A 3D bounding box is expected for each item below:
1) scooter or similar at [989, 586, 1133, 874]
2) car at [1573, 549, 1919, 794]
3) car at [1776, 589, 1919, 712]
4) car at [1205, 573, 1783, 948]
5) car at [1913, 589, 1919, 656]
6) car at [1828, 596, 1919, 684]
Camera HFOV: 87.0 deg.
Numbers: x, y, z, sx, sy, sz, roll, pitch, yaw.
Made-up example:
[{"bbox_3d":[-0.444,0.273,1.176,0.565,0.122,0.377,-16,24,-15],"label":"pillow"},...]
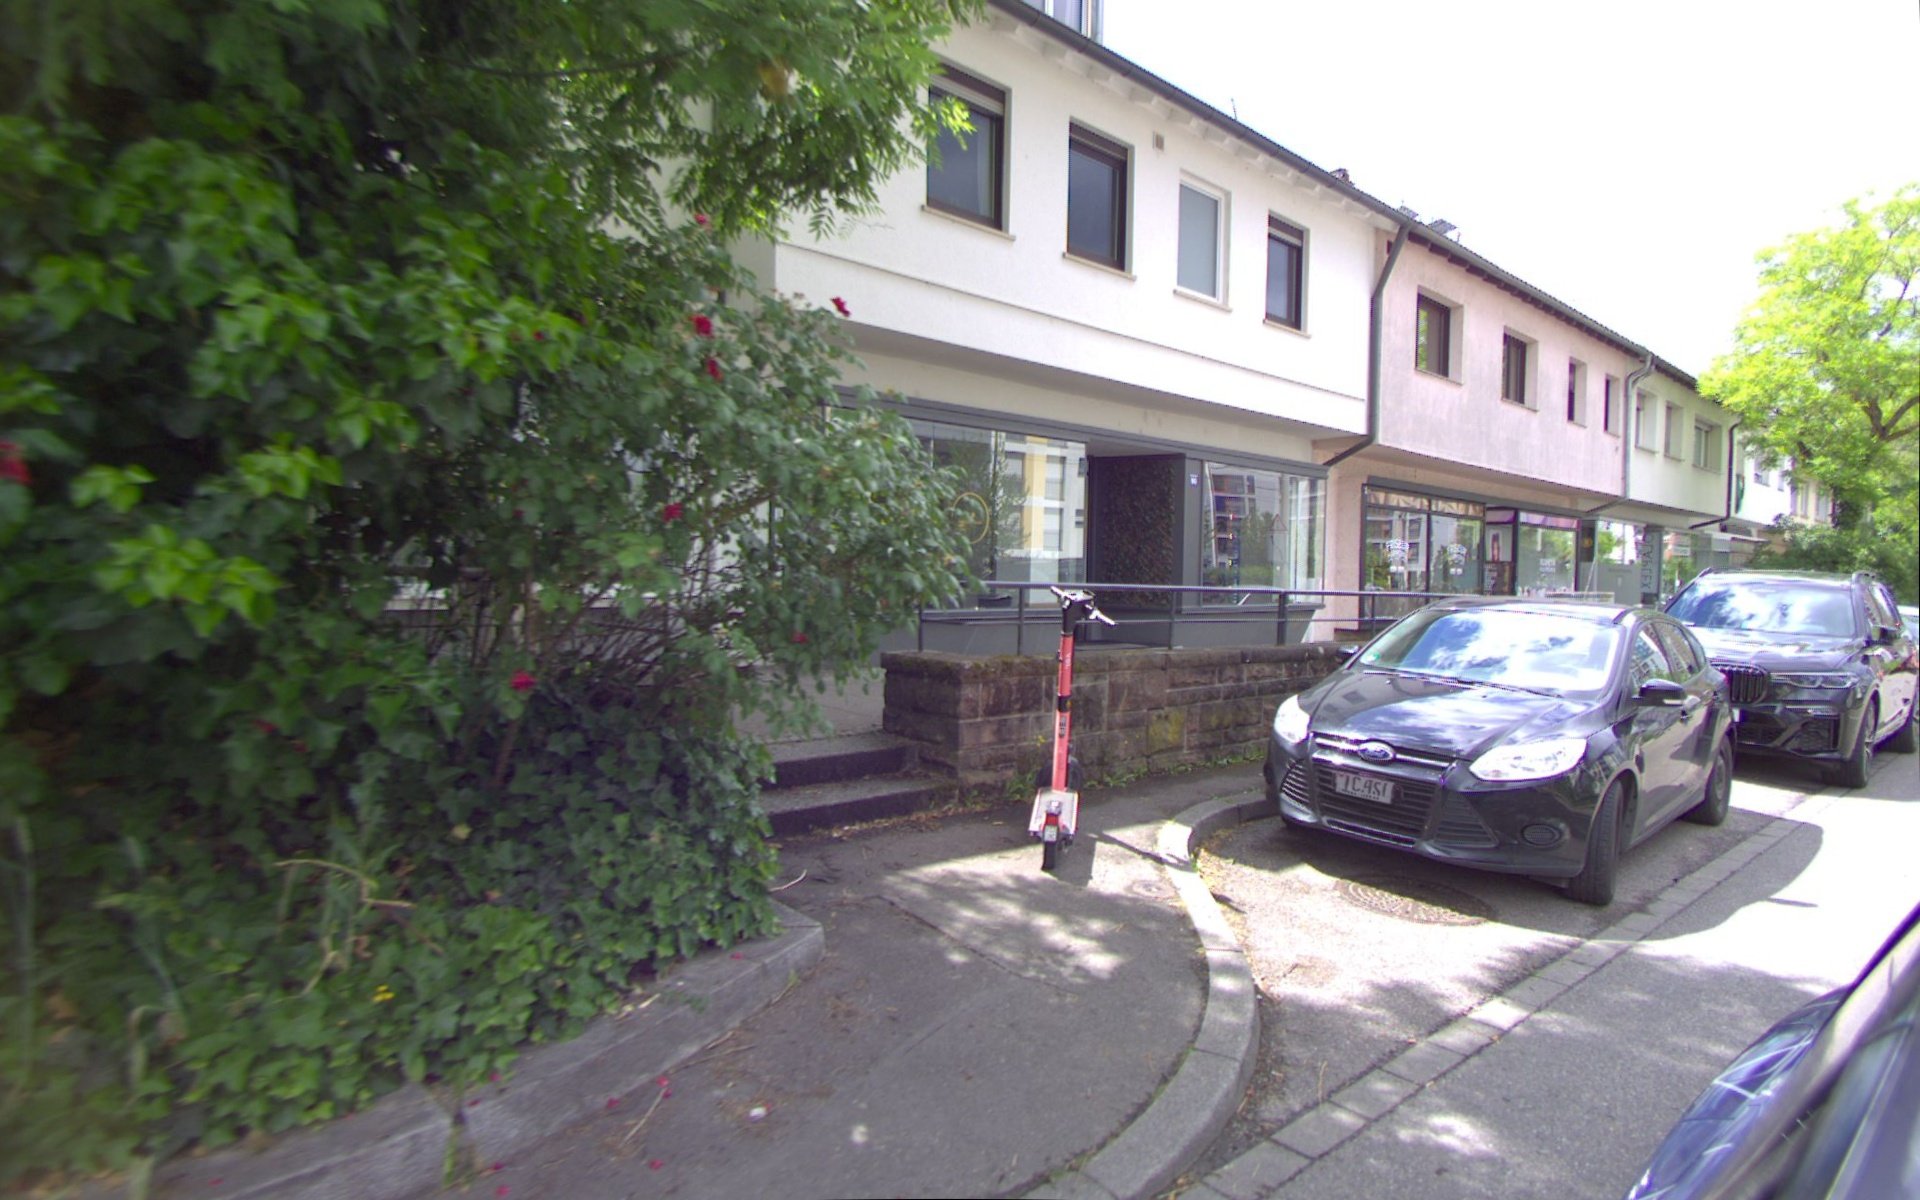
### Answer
[{"bbox_3d":[0.550,0.568,5.150,0.528,1.258,1.231,2,1,13],"label":"scooter or similar"},{"bbox_3d":[8.074,0.488,9.899,4.985,1.810,2.020,0,2,-40],"label":"car"},{"bbox_3d":[13.102,0.632,14.378,3.834,1.459,1.774,0,4,-43],"label":"car"},{"bbox_3d":[3.523,0.646,6.301,4.170,1.524,1.837,0,2,-42],"label":"car"},{"bbox_3d":[26.170,0.578,26.201,4.354,1.664,1.840,0,1,-42],"label":"car"},{"bbox_3d":[17.099,0.670,17.947,3.926,1.365,1.777,0,4,-38],"label":"car"}]
